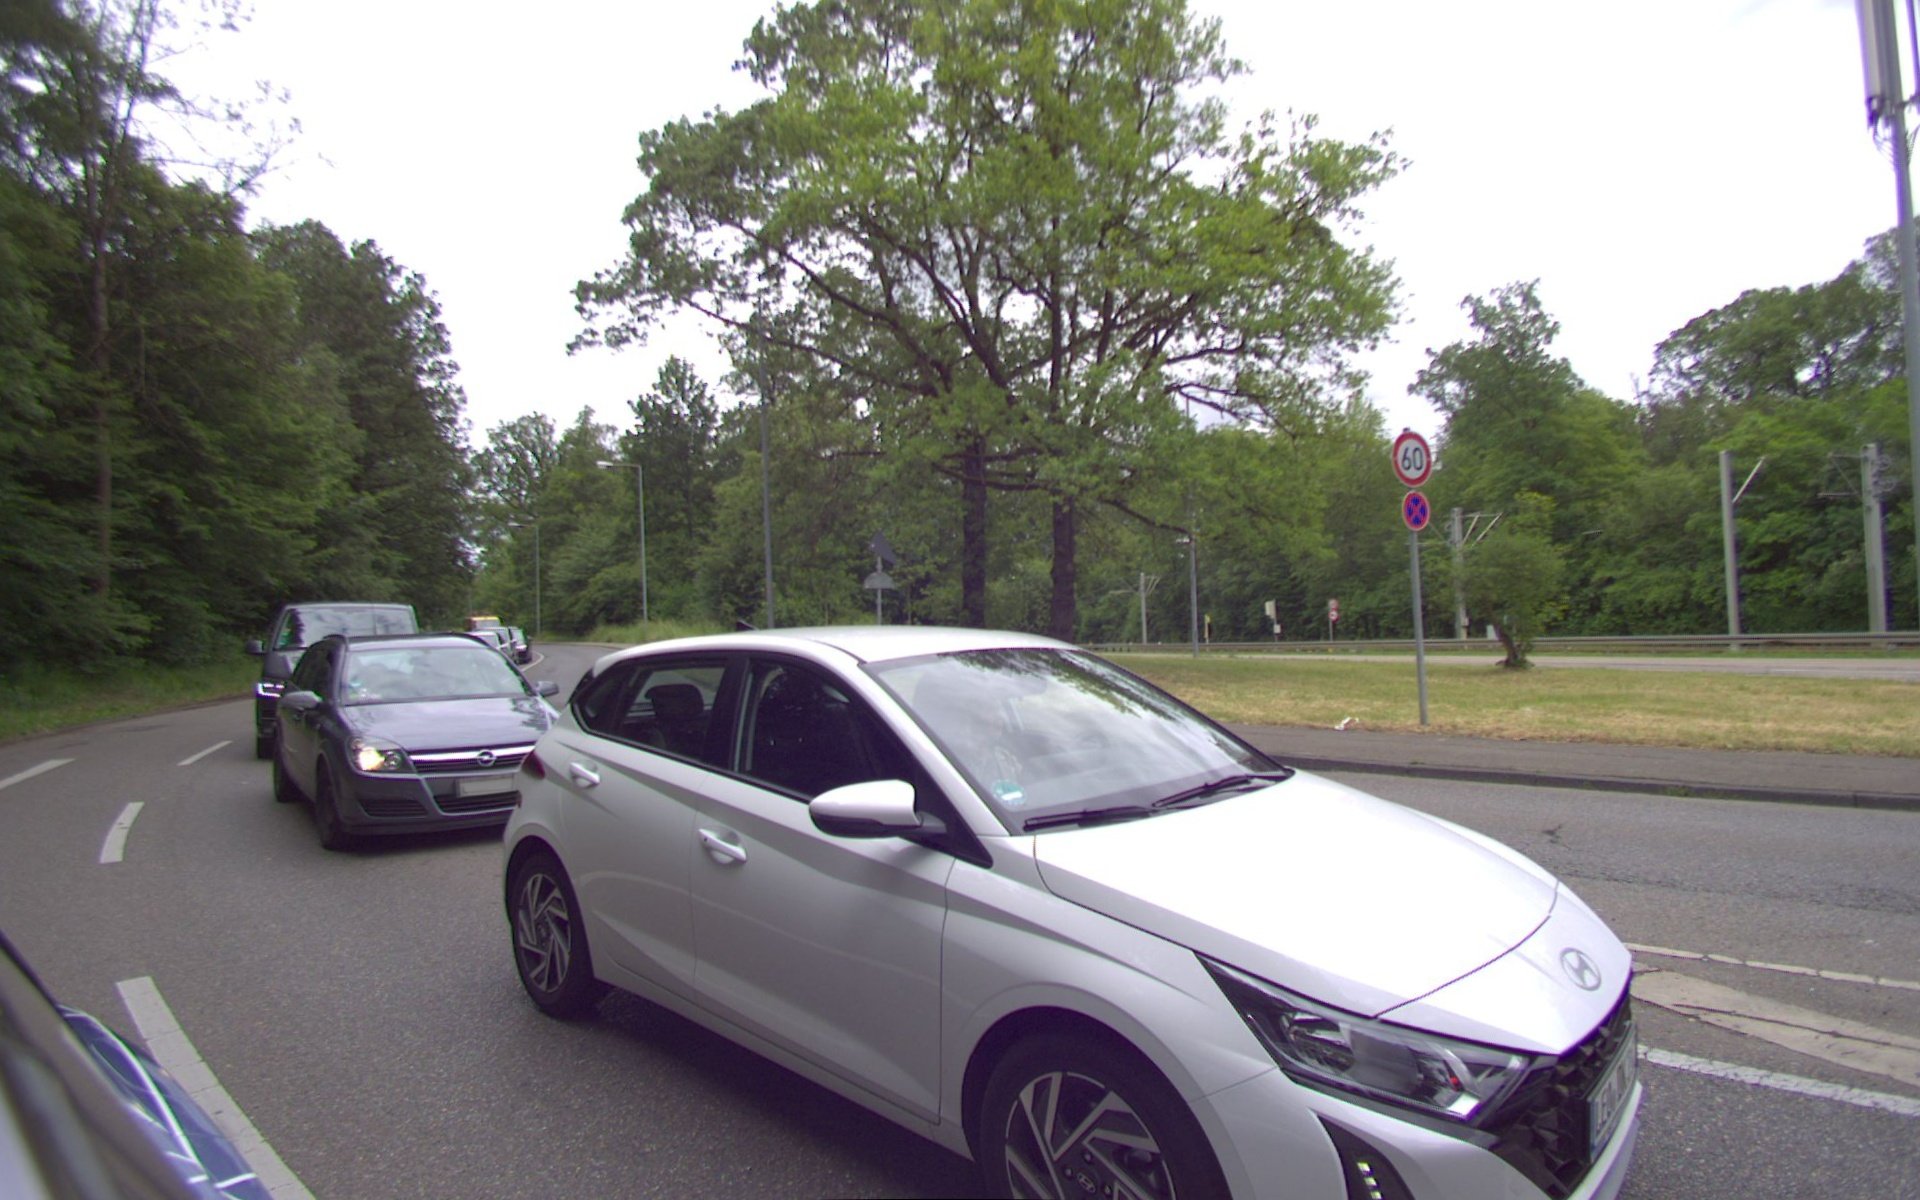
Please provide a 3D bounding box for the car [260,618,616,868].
[{"bbox_3d":[-4.553,0.952,8.419,1.775,1.490,4.478,0,-2,-39],"label":"car"}]

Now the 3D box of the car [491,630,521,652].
[{"bbox_3d":[-31.821,2.861,70.986,1.749,1.511,3.885,-1,-2,-22],"label":"car"}]

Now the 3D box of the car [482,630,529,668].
[{"bbox_3d":[-19.379,2.069,43.139,1.748,1.511,3.885,0,-2,-25],"label":"car"}]

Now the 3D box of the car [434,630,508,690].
[{"bbox_3d":[-13.676,1.632,28.402,1.748,1.511,3.885,0,-2,-25],"label":"car"}]

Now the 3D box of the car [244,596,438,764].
[{"bbox_3d":[-8.365,0.985,13.938,1.957,1.887,4.545,0,-2,-29],"label":"car"}]

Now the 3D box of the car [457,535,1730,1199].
[{"bbox_3d":[-0.062,0.729,3.428,4.073,1.490,1.631,-3,-2,43],"label":"car"}]

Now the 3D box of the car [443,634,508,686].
[{"bbox_3d":[-15.384,1.860,32.233,1.748,1.511,3.885,0,-2,-25],"label":"car"}]

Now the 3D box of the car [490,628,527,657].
[{"bbox_3d":[-25.484,2.396,57.205,1.749,1.511,3.885,-1,-2,-22],"label":"car"}]

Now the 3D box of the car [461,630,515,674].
[{"bbox_3d":[-17.710,1.913,38.018,1.748,1.511,3.885,0,-2,-25],"label":"car"}]
